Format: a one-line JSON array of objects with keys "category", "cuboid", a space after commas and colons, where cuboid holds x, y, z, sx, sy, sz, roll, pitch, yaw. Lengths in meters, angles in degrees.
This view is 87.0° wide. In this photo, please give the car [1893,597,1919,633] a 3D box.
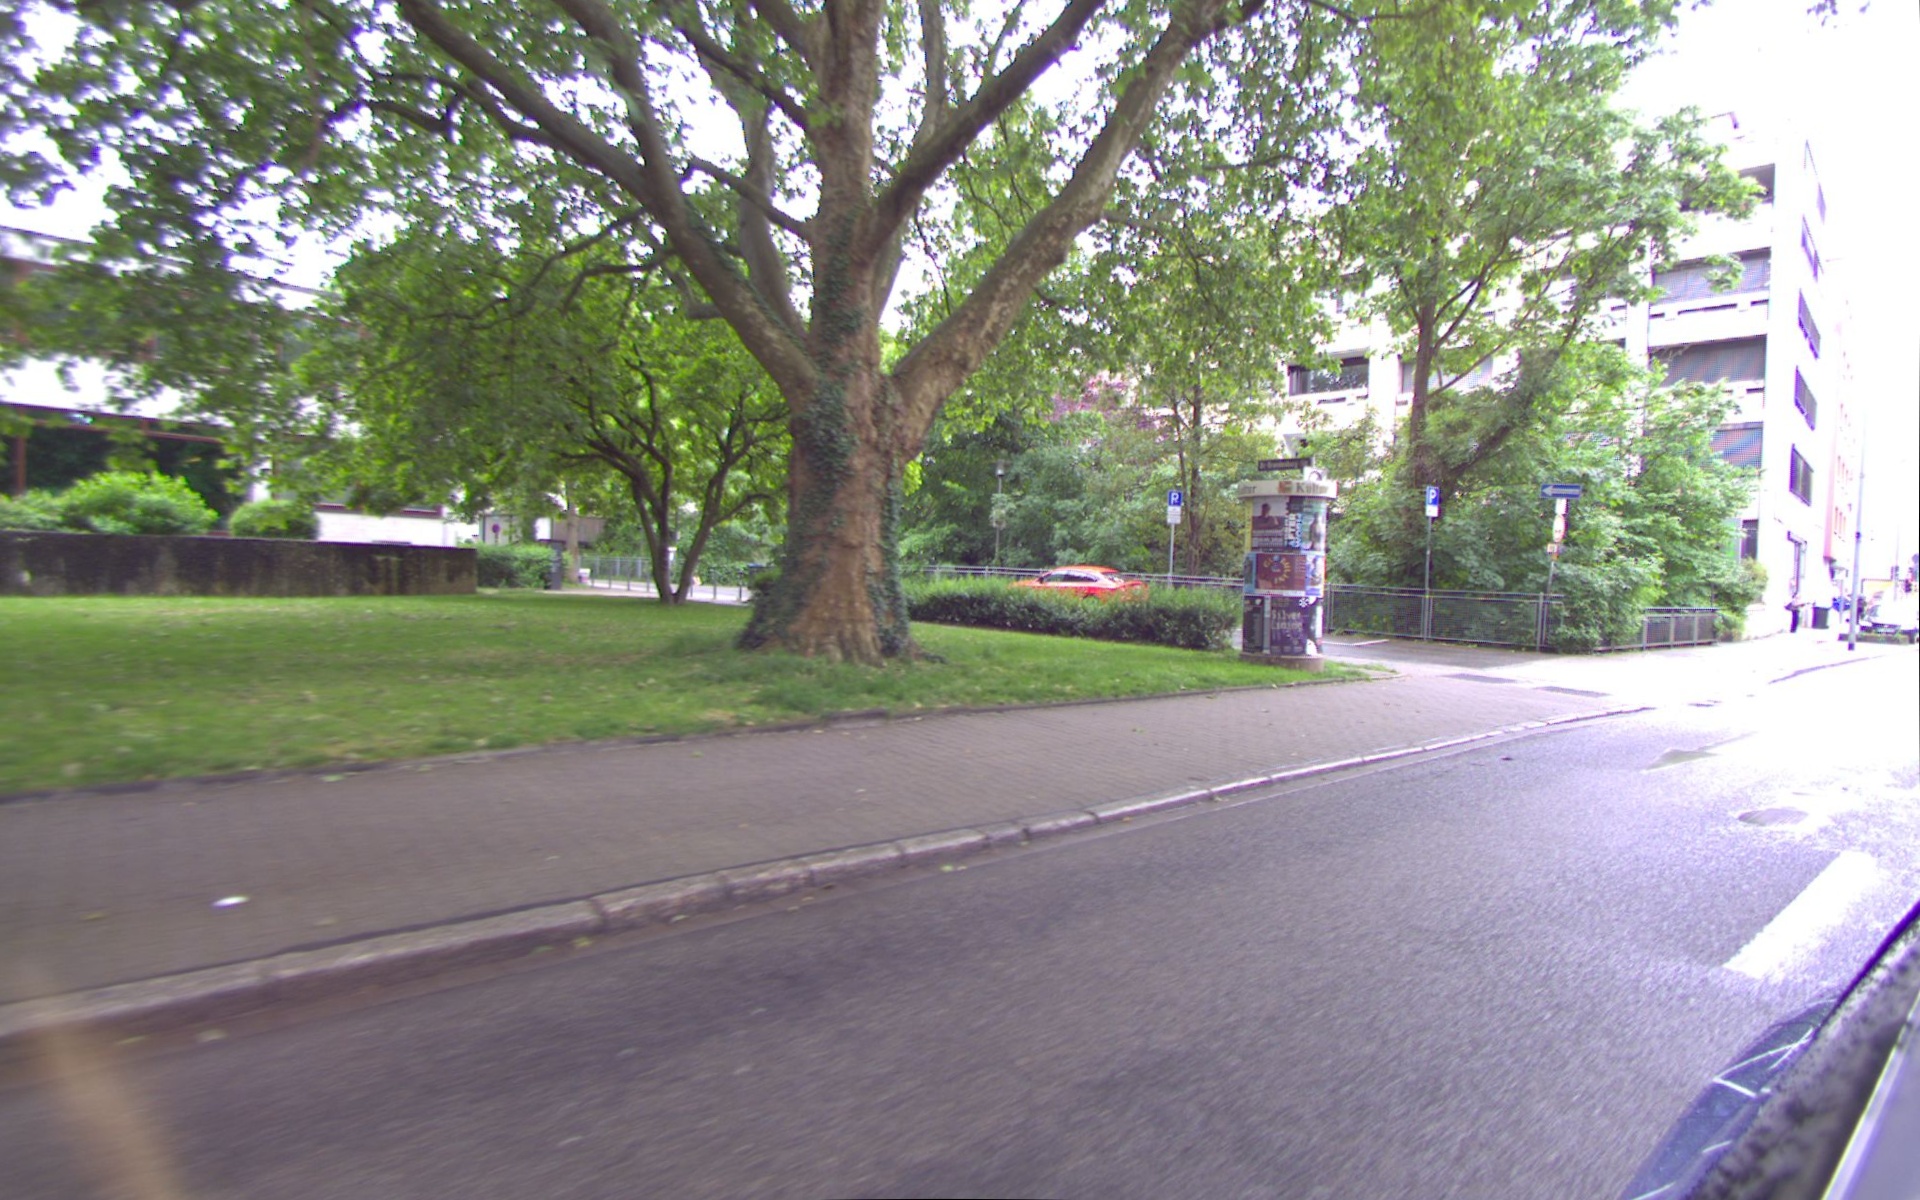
[{"category": "car", "cuboid": [40.991, 0.642, 42.831, 4.493, 1.437, 1.834, 0, 3, -43]}]

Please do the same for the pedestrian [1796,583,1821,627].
[{"category": "pedestrian", "cuboid": [33.310, 0.186, 39.717, 0.598, 1.679, 0.681, 7, 4, 42]}]

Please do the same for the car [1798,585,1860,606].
[{"category": "car", "cuboid": [78.256, -0.460, 91.228, 1.801, 1.732, 3.801, 1, 2, -21]}]

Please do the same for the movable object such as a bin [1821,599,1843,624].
[{"category": "movable object such as a bin", "cuboid": [40.490, 0.538, 46.988, 0.505, 1.117, 0.680, 1, 2, -42]}]

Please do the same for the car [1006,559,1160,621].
[{"category": "car", "cuboid": [3.416, -0.351, 28.480, 3.989, 1.499, 1.847, 5, 4, 44]}]

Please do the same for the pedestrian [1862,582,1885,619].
[{"category": "pedestrian", "cuboid": [55.012, 0.015, 60.962, 0.797, 2.179, 0.732, 2, 1, 26]}]

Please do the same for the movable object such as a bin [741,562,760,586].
[{"category": "movable object such as a bin", "cuboid": [-8.668, -1.083, 41.862, 0.573, 0.986, 0.512, 0, 0, -41]}]

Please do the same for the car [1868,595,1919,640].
[{"category": "car", "cuboid": [35.955, 0.649, 38.479, 3.741, 1.577, 1.705, 0, 4, -43]}]

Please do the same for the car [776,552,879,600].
[{"category": "car", "cuboid": [-4.887, -0.906, 37.089, 1.707, 1.590, 3.925, 0, 3, -45]}]

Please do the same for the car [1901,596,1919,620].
[{"category": "car", "cuboid": [64.414, 0.541, 65.694, 1.726, 1.588, 4.687, 0, 0, -39]}]
